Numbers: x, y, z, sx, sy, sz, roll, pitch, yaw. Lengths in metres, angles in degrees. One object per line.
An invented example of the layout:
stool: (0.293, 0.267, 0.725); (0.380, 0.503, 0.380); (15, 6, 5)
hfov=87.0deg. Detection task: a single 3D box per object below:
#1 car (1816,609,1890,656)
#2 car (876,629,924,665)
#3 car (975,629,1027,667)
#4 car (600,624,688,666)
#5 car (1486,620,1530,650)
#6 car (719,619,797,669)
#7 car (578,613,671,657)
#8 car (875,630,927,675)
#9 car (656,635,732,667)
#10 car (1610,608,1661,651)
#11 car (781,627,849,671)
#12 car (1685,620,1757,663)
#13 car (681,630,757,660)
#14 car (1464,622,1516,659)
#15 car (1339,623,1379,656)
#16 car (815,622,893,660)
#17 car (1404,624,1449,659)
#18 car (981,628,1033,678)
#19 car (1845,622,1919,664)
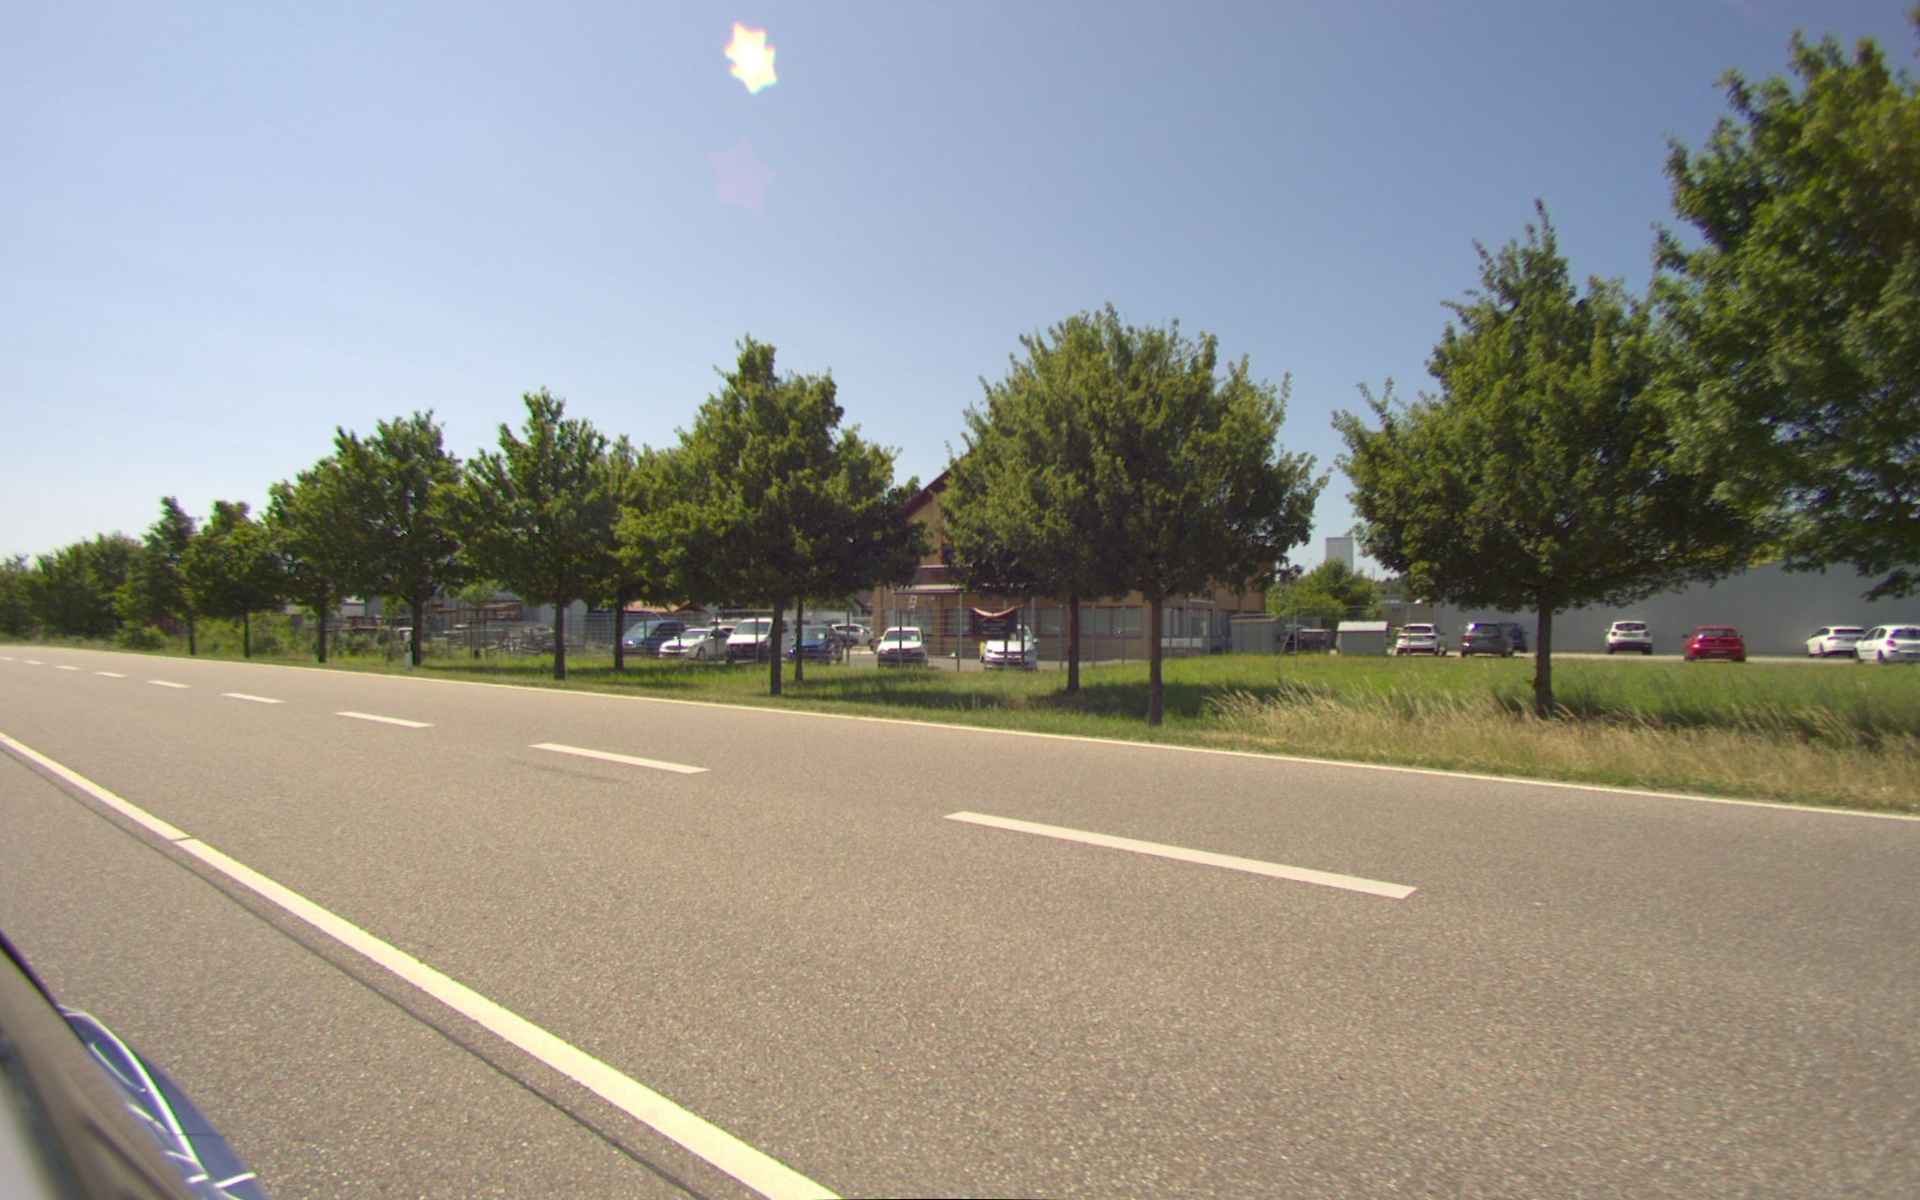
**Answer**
car: (40.230, 1.404, 45.692); (1.995, 2.029, 3.953); (-1, -1, 34)
car: (-2.569, 2.010, 44.006); (1.495, 1.463, 3.339); (-1, -1, 7)
car: (1.647, 1.949, 41.825); (1.713, 1.409, 4.003); (-1, -1, -3)
car: (-14.824, 2.089, 47.741); (2.006, 1.815, 4.283); (-1, -1, 15)
car: (28.739, 1.802, 53.040); (1.851, 1.431, 3.590); (0, -1, 31)
car: (-8.642, 1.855, 43.717); (1.806, 1.969, 4.651); (-1, -1, 9)
car: (-21.777, 2.294, 65.791); (5.646, 2.743, 2.372); (1, -2, -19)
car: (-2.125, 1.891, 37.397); (1.650, 1.491, 3.993); (-1, -1, 1)
car: (-11.916, 2.275, 45.525); (1.798, 1.274, 3.664); (-1, -1, 13)
car: (33.265, 1.430, 49.845); (1.995, 2.029, 3.953); (-1, -1, 34)
car: (-5.805, 1.938, 40.996); (1.974, 1.608, 3.996); (-1, -1, 3)
car: (28.957, 1.527, 38.629); (1.923, 1.519, 3.955); (0, -1, 33)
car: (-12.517, 2.321, 52.726); (1.639, 1.419, 3.654); (-1, -1, 36)
car: (22.757, 1.702, 43.409); (1.732, 1.431, 3.574); (0, -1, 31)
car: (18.547, 1.817, 46.991); (1.227, 1.431, 3.035); (0, -1, 31)
car: (-7.166, 2.787, 68.745); (5.036, 2.445, 2.054); (1, -3, 3)
car: (20.741, 1.815, 44.974); (1.428, 1.431, 3.574); (0, -1, 31)
car: (1.587, 1.781, 35.165); (1.567, 1.555, 4.342); (-1, -1, 0)
car: (33.541, 1.494, 35.948); (1.987, 1.364, 3.969); (0, -1, 23)
